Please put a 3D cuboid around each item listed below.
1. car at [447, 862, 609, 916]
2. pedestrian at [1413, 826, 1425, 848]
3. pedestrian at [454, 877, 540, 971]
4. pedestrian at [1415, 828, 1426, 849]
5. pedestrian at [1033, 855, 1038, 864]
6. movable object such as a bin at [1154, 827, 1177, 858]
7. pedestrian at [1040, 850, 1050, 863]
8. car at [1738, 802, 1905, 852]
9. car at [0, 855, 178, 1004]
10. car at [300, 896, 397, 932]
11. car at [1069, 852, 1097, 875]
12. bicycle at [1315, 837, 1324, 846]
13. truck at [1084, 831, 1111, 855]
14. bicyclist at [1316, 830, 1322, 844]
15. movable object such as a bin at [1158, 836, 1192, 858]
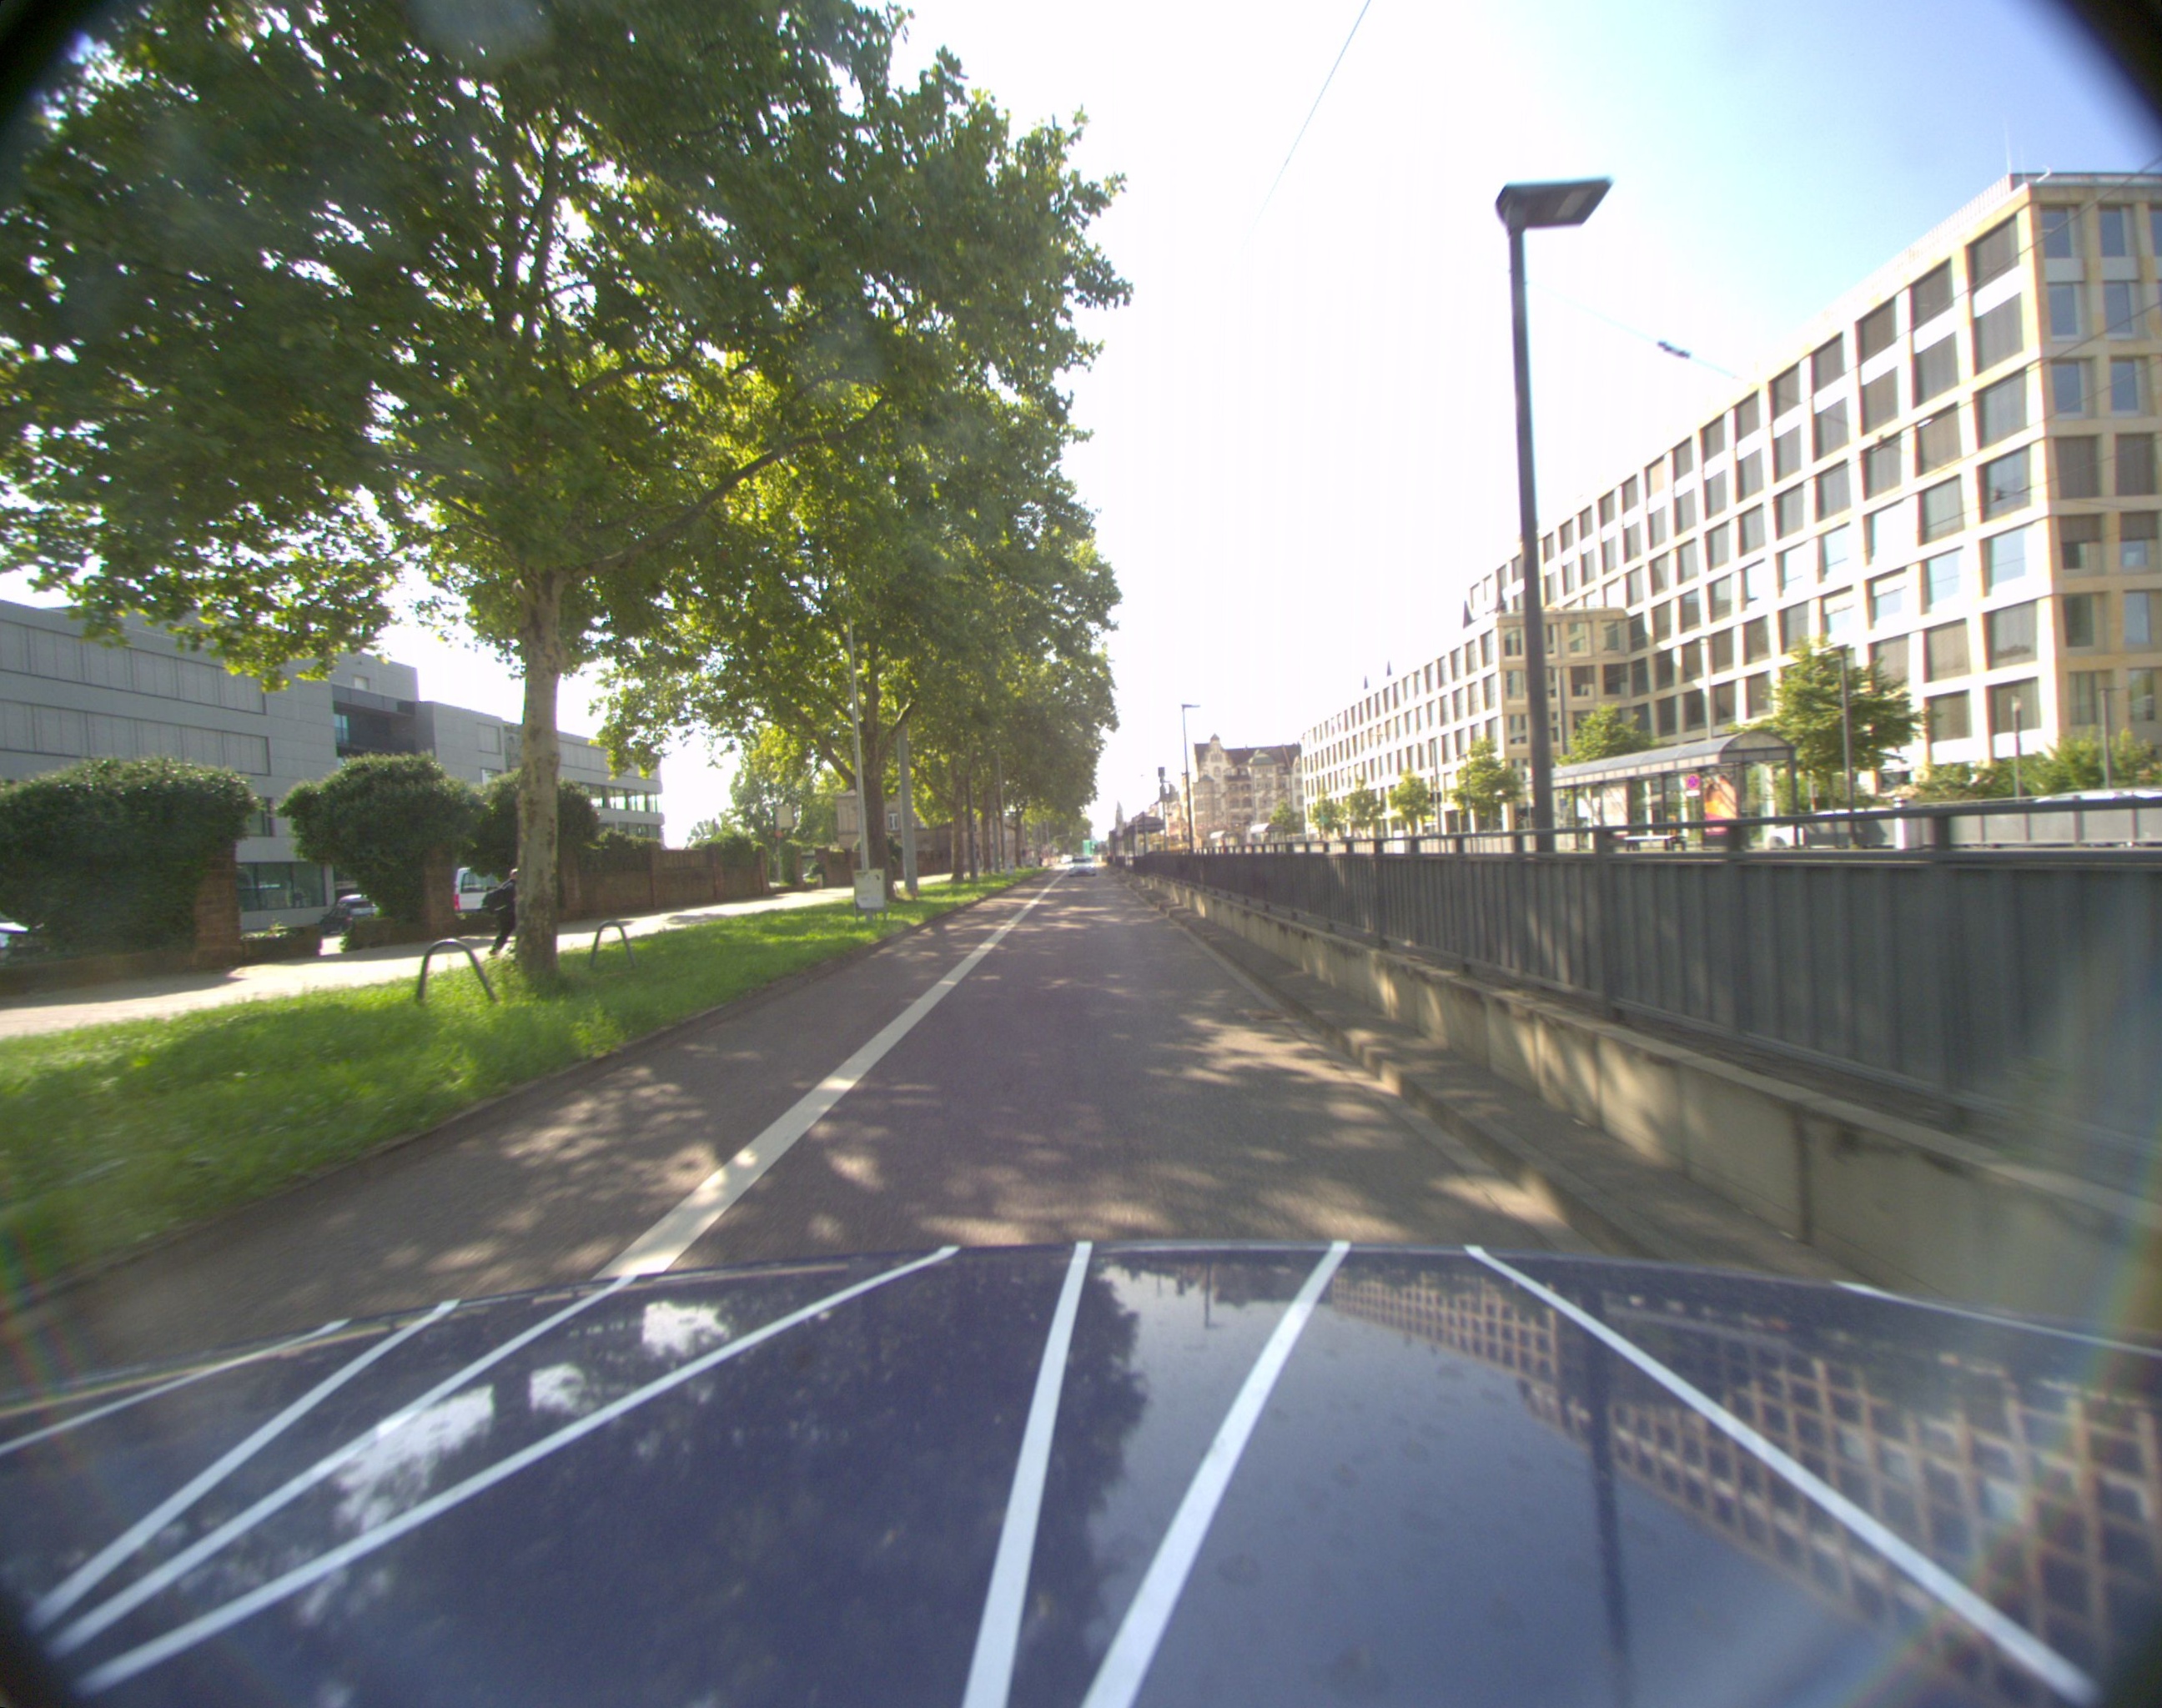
[{"bbox_3d":[-20.662,1.275,28.531,4.533,1.724,1.909,-3,1,-2],"label":"car"},{"bbox_3d":[31.934,-1.622,71.771,0.768,2.002,0.822,-3,1,4],"label":"pedestrian"},{"bbox_3d":[-10.085,1.188,13.155,0.785,1.506,0.787,-3,1,0],"label":"pedestrian"},{"bbox_3d":[33.615,-1.535,75.294,0.769,2.002,0.822,0,2,4],"label":"pedestrian"},{"bbox_3d":[-6.078,0.766,101.404,0.610,1.211,0.574,-2,1,-2],"label":"pedestrian"},{"bbox_3d":[12.692,-1.708,114.446,2.994,4.527,4.212,-3,0,2],"label":"movable object such as a bin"},{"bbox_3d":[-4.653,0.316,98.537,0.886,1.616,0.821,-4,1,-36],"label":"pedestrian"},{"bbox_3d":[25.677,-0.882,26.574,1.768,1.565,4.131,-2,1,-1],"label":"car"},{"bbox_3d":[-20.382,1.396,13.748,5.388,2.420,2.251,-3,1,2],"label":"car"},{"bbox_3d":[-37.139,3.032,38.544,3.965,1.600,1.825,-2,1,18],"label":"car"},{"bbox_3d":[0.180,0.653,52.937,1.844,1.451,4.000,-1,1,1],"label":"car"},{"bbox_3d":[23.427,-1.221,74.687,0.389,0.874,1.576,-3,0,0],"label":"bicycle"},{"bbox_3d":[2.787,-1.733,129.747,2.817,3.766,9.008,-3,0,-9],"label":"truck"},{"bbox_3d":[23.401,-1.638,74.596,0.387,1.353,0.447,-3,1,0],"label":"bicyclist"},{"bbox_3d":[15.183,-1.117,122.812,4.127,3.204,3.564,-3,0,-15],"label":"movable object such as a bin"}]
